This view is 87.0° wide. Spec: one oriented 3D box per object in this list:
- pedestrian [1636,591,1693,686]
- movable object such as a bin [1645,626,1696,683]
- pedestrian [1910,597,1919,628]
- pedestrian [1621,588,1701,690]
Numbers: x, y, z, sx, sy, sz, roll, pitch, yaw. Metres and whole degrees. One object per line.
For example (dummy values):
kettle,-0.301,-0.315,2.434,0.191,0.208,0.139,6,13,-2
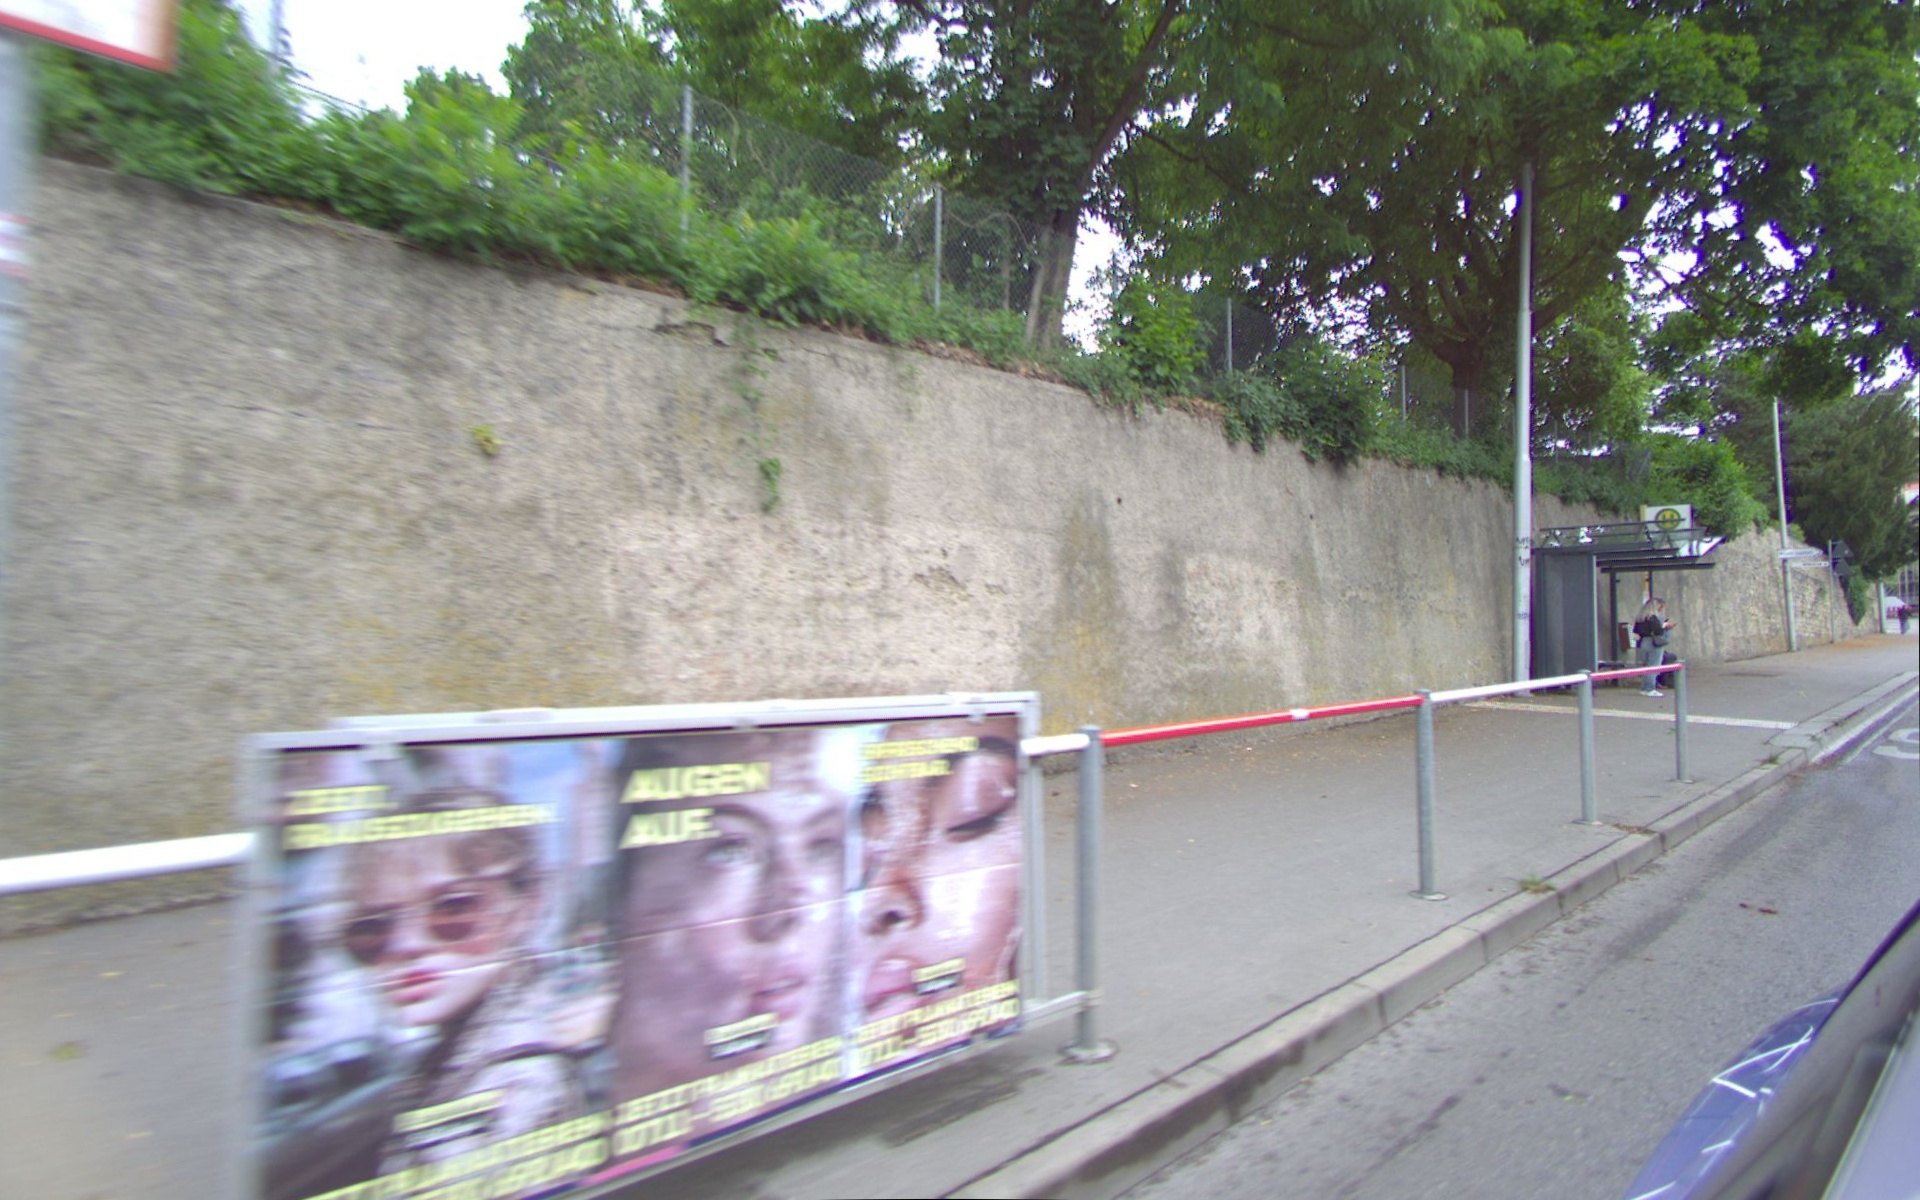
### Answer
pedestrian,12.700,0.682,18.253,0.720,1.664,0.621,-2,-2,43
movable object such as a bin,13.152,0.993,18.722,0.674,1.033,0.617,-2,-3,43
pedestrian,50.180,0.664,52.888,0.731,1.596,0.731,-1,-1,45
pedestrian,11.376,0.619,16.445,0.758,1.608,0.737,0,-1,-1
